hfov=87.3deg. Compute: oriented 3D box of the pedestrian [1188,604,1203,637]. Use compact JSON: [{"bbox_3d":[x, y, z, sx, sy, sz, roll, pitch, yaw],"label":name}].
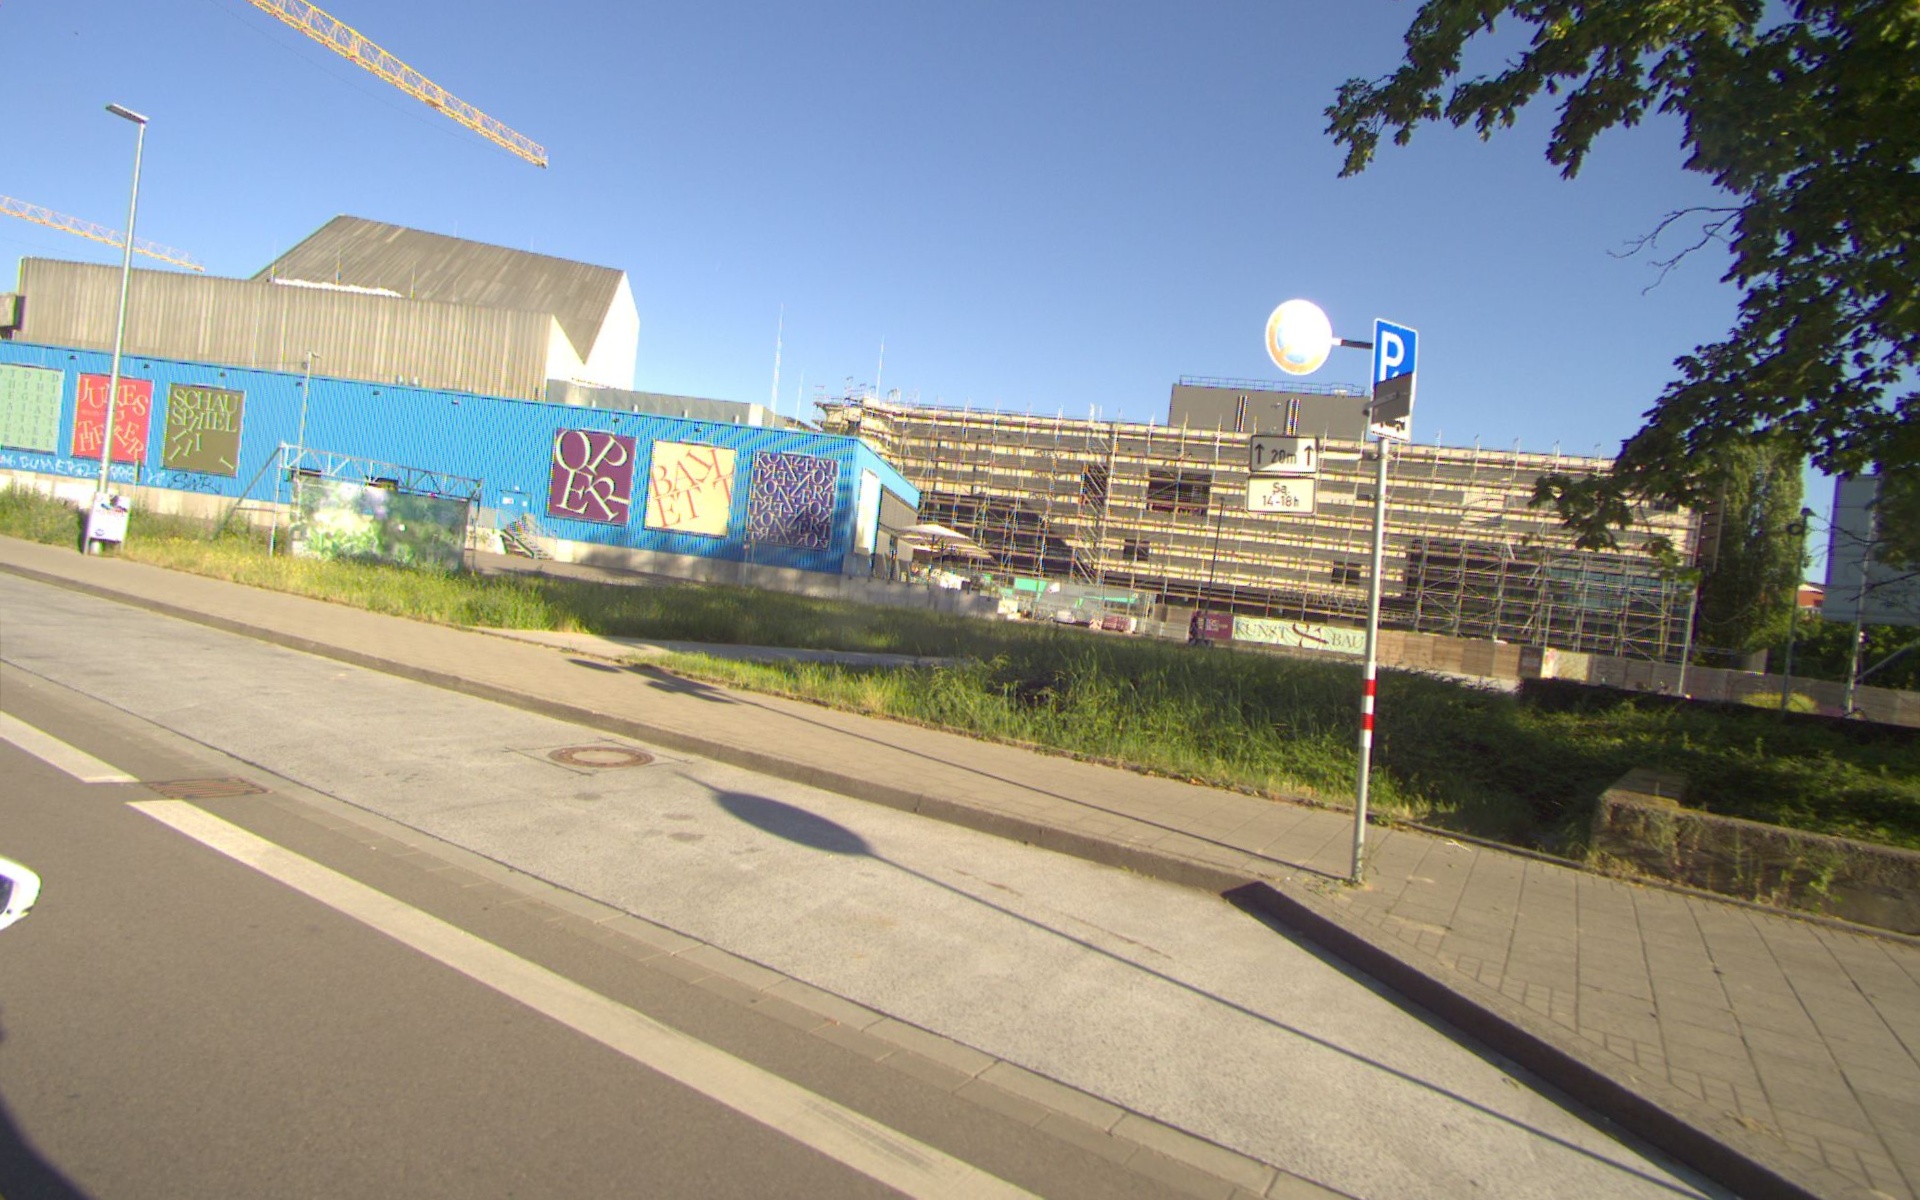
[{"bbox_3d":[9.796,0.864,41.821,0.433,1.310,0.574,6,-2,7],"label":"pedestrian"}]
